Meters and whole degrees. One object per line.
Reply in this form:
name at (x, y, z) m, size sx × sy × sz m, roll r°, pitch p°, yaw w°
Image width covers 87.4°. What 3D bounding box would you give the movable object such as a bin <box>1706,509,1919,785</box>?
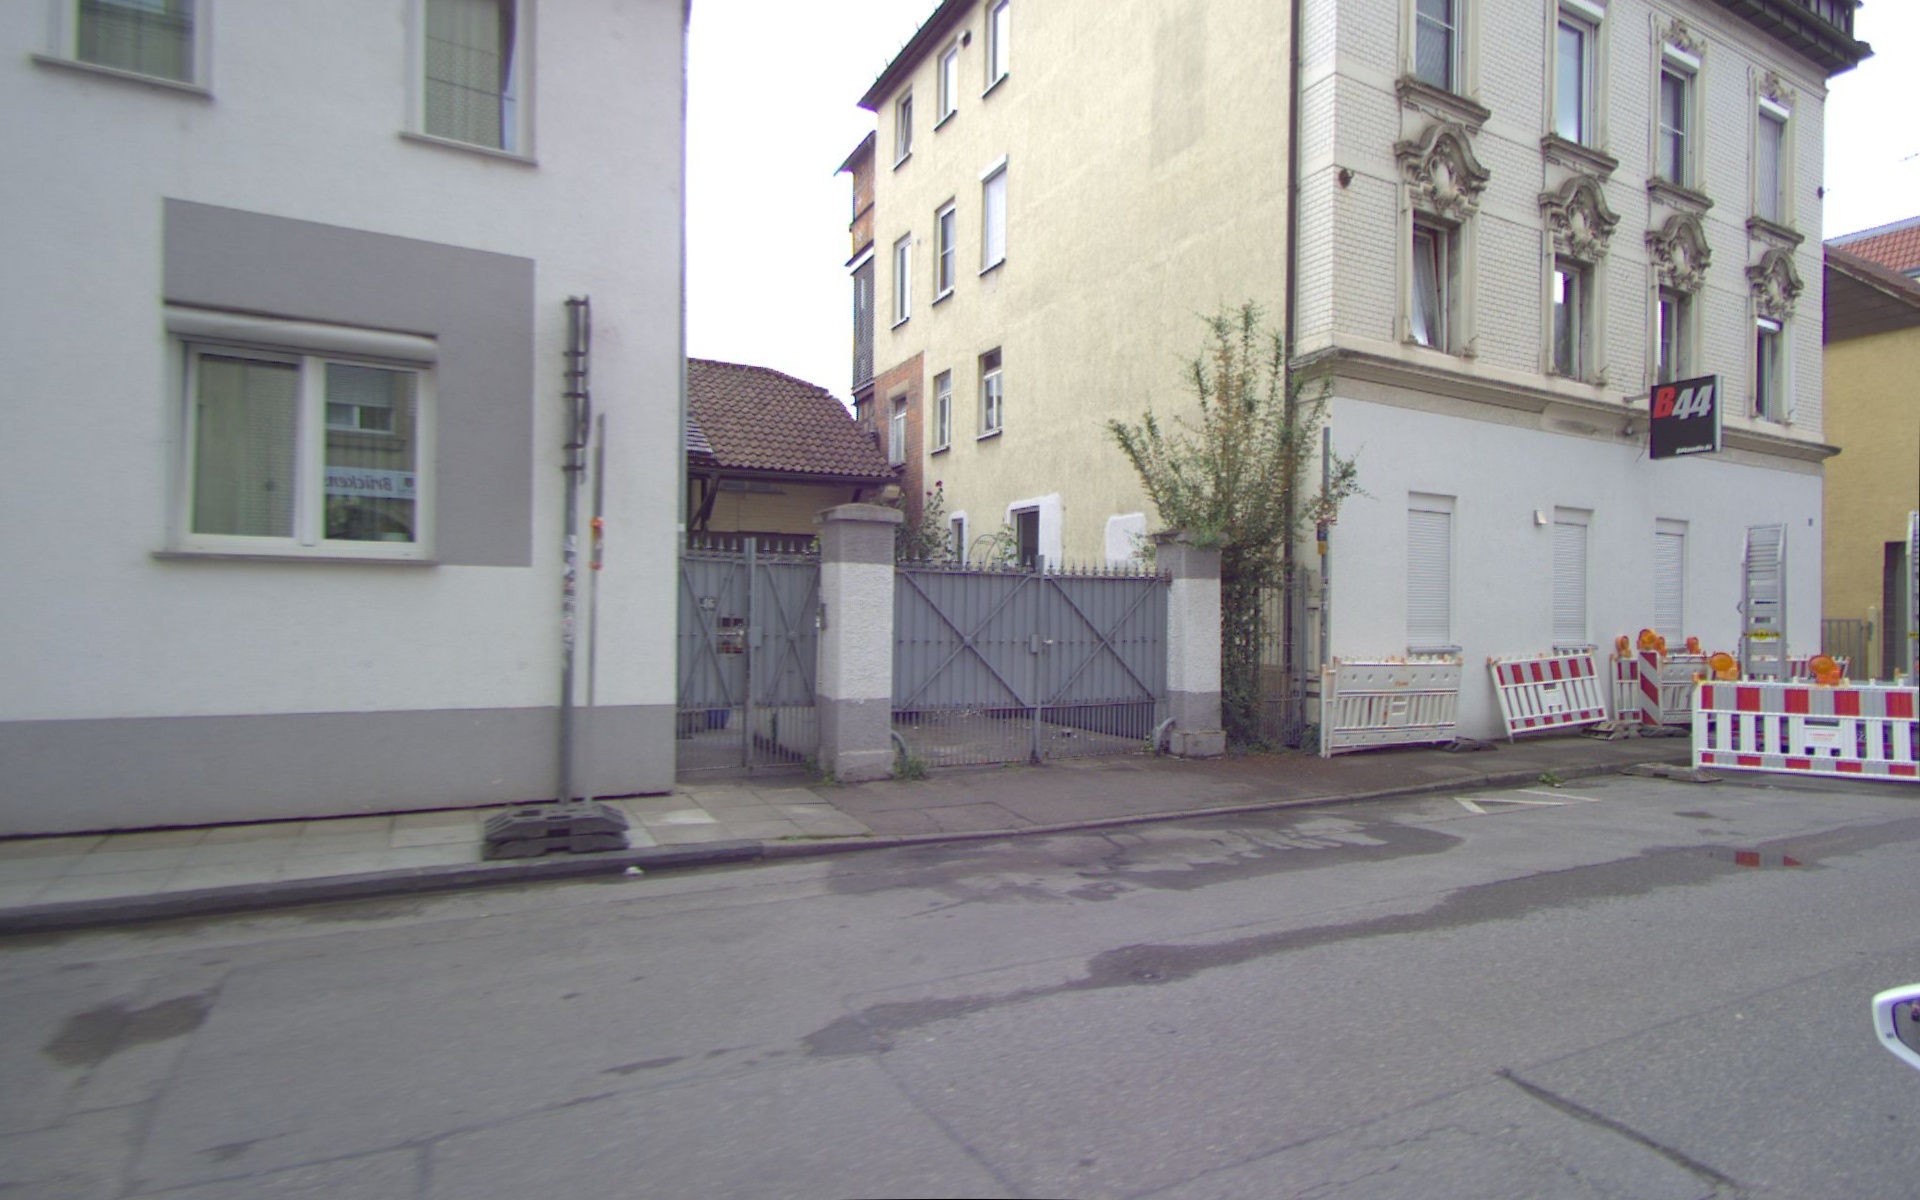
movable object such as a bin at (11.596, 0.550, 12.135) m, size 4.484 × 2.862 × 2.527 m, roll 1°, pitch -2°, yaw -29°
